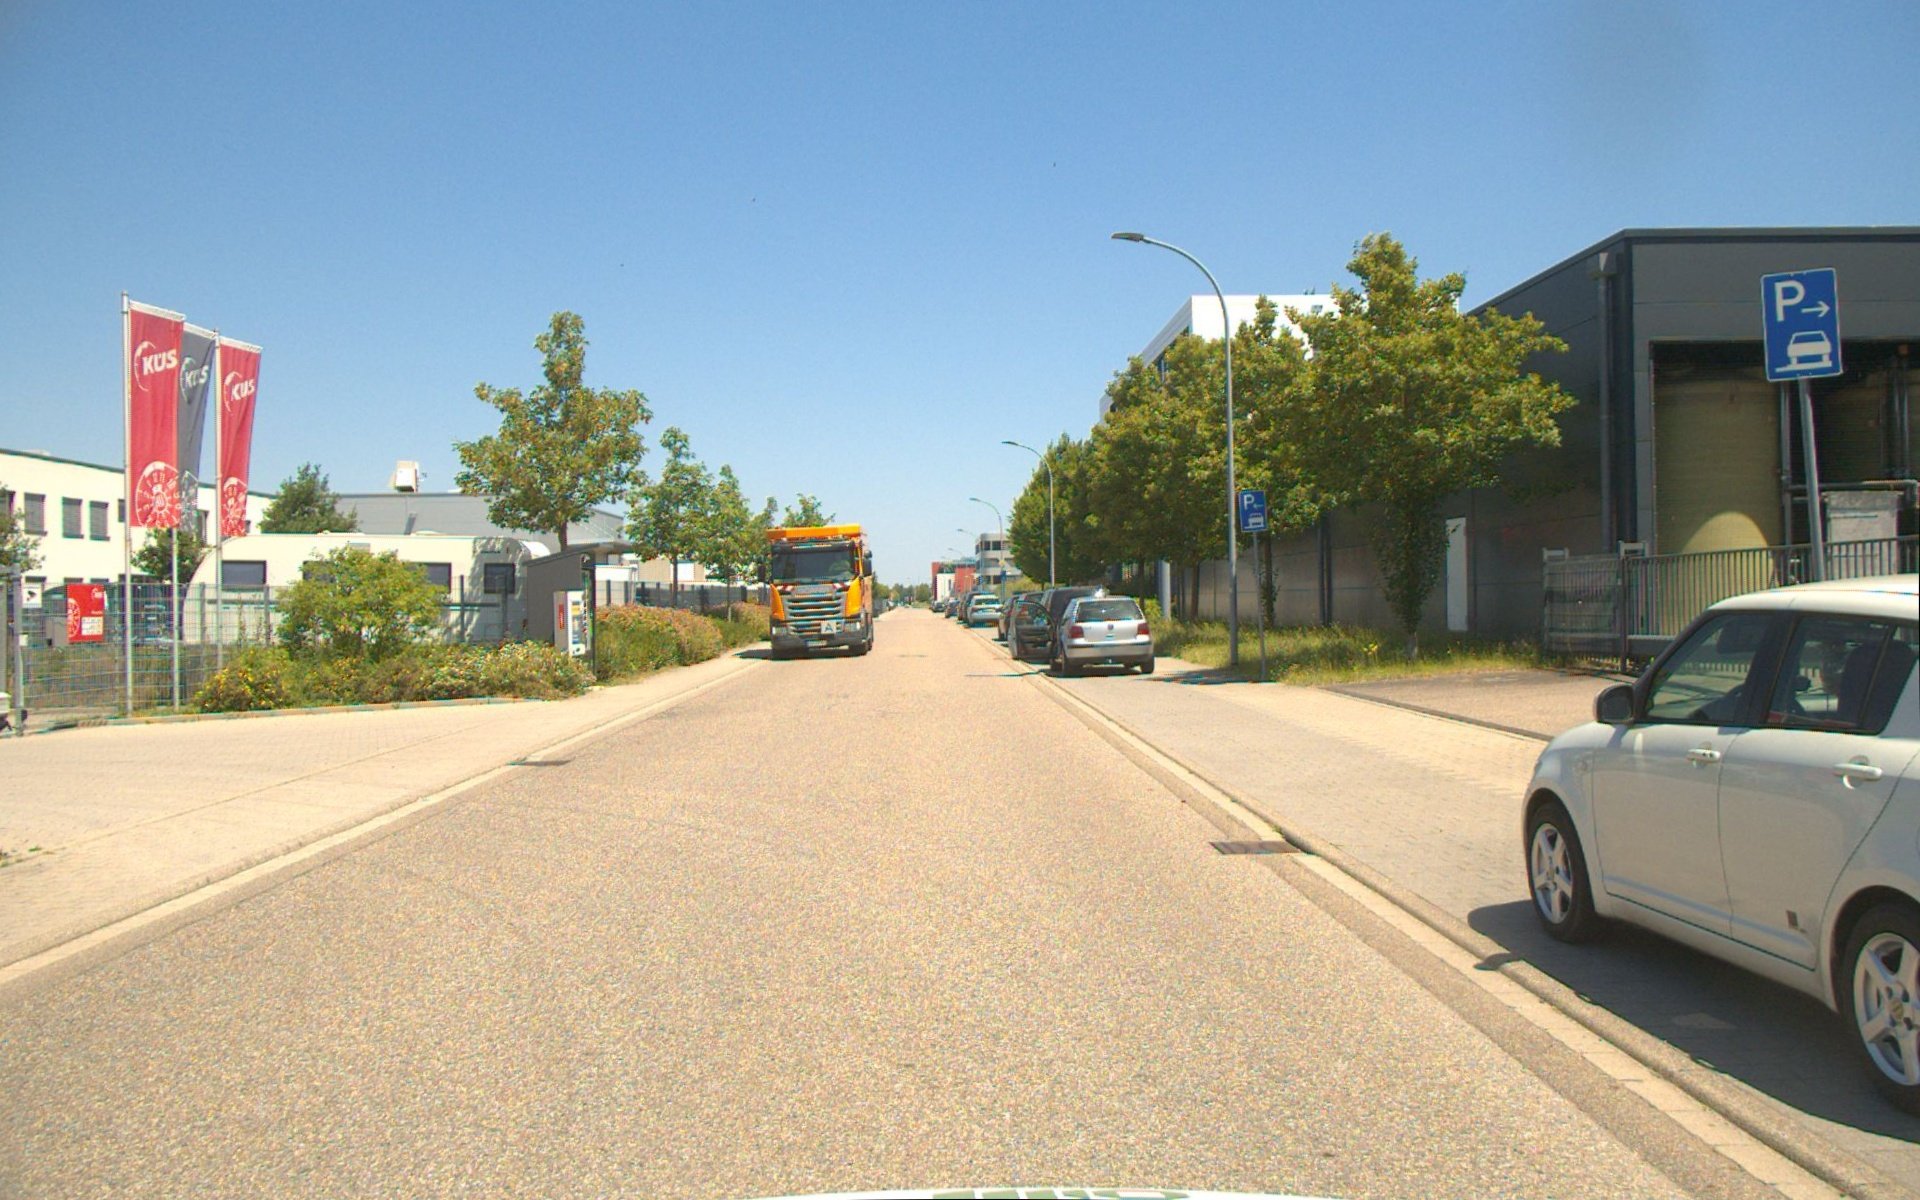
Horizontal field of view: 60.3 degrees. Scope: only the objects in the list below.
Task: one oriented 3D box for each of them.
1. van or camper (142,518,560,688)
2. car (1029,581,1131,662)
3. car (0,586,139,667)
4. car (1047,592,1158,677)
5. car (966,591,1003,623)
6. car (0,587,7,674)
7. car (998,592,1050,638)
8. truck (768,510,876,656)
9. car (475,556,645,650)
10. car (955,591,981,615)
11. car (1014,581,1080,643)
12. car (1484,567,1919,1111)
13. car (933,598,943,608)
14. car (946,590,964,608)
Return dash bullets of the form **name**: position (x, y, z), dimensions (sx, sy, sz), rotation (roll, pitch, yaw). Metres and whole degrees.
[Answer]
- **van or camper**: position (-11.947, 0.039, 33.011), dimensions (7.236, 3.090, 2.789), rotation (-1, 0, -3)
- **car**: position (2.678, 0.439, 37.590), dimensions (1.645, 1.716, 3.995), rotation (-1, 1, -6)
- **car**: position (-22.177, 0.629, 39.727), dimensions (3.907, 1.847, 1.916), rotation (-1, 0, -3)
- **car**: position (2.660, 0.605, 31.586), dimensions (1.683, 1.475, 3.645), rotation (-2, 0, -2)
- **car**: position (1.137, 0.320, 78.426), dimensions (1.553, 1.434, 3.499), rotation (-1, 1, -2)
- **car**: position (-22.300, 0.691, 34.304), dimensions (3.907, 1.847, 1.916), rotation (-1, 0, -3)
- **car**: position (2.131, 0.481, 55.711), dimensions (1.465, 1.434, 3.499), rotation (-1, 1, -2)
- **truck**: position (-3.678, -0.484, 45.682), dimensions (2.399, 3.574, 8.270), rotation (-2, 1, -2)
- **car**: position (-11.867, 0.076, 49.323), dimensions (4.624, 2.631, 1.998), rotation (-1, 0, -6)
- **car**: position (0.487, 0.166, 101.731), dimensions (1.465, 1.434, 3.499), rotation (-1, 1, -2)
- **car**: position (2.553, 0.325, 49.444), dimensions (1.687, 1.724, 3.983), rotation (-1, 1, -1)
- **car**: position (3.403, 0.648, 5.984), dimensions (1.603, 1.494, 3.743), rotation (-2, 1, -4)
- **car**: position (-3.427, 0.496, 253.936), dimensions (1.465, 1.434, 3.499), rotation (-1, 1, -2)
- **car**: position (-0.439, -0.090, 142.857), dimensions (1.465, 1.434, 3.499), rotation (-1, 1, -2)
